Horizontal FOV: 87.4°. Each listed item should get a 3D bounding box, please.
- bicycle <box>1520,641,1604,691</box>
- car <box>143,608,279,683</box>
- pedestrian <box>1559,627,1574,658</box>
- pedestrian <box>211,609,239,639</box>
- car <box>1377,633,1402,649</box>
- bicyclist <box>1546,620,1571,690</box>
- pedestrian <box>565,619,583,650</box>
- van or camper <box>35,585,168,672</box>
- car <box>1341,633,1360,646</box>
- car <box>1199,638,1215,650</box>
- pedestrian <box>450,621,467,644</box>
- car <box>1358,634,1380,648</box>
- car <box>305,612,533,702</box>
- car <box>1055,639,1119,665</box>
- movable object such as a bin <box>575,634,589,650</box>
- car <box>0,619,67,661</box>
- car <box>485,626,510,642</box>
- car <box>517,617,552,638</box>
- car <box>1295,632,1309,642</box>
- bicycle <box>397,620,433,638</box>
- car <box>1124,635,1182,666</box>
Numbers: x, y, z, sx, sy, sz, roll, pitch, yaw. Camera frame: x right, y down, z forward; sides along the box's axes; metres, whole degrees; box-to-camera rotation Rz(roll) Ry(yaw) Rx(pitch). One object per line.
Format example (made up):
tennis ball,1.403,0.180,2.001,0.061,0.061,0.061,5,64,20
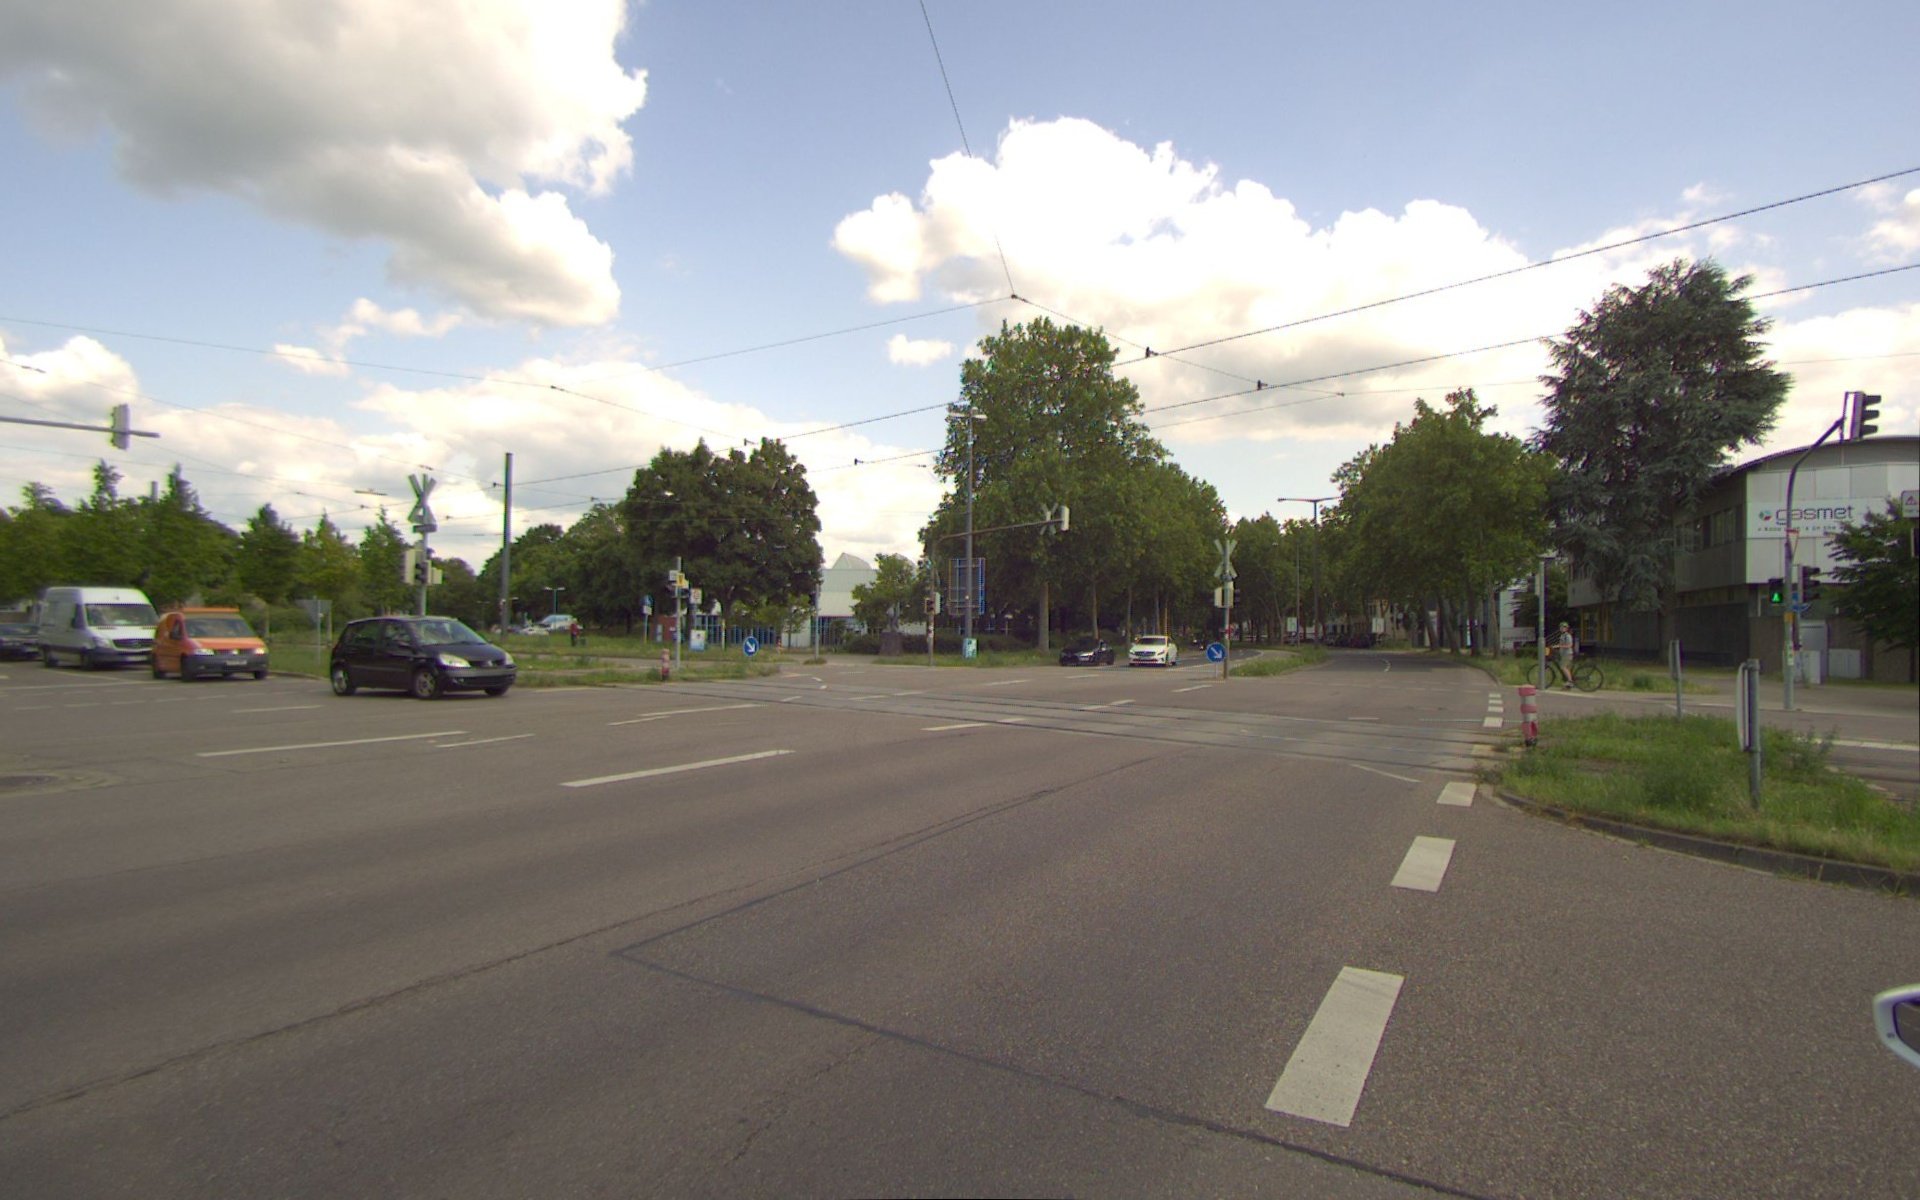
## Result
bicycle,16.255,1.775,27.137,1.920,1.252,0.539,0,0,36
car,-19.766,1.151,26.468,4.304,1.823,1.876,-1,-2,39
pedestrian,31.691,2.240,52.480,0.611,1.590,0.558,0,0,26
pedestrian,-50.260,1.656,68.649,1.155,2.040,1.105,0,-2,26
car,47.698,4.494,111.613,1.960,1.595,4.002,0,0,14
bicyclist,16.191,1.475,27.166,0.536,1.834,0.539,0,1,35
pedestrian,-20.762,1.844,54.014,0.625,1.666,0.613,0,0,18
van or camper,-27.554,0.884,32.164,5.941,2.557,1.975,-1,-2,37
car,51.186,5.156,131.707,1.960,1.595,4.002,0,0,14
car,27.677,4.943,112.738,1.607,1.207,3.711,0,-2,12
pedestrian,-30.171,1.958,60.438,0.739,1.372,0.649,0,0,33
car,50.145,5.046,123.298,1.960,1.595,4.002,0,0,14
car,-10.856,1.100,20.201,3.971,1.652,1.736,0,-2,17
car,6.118,2.471,48.219,1.612,1.207,3.699,0,-2,33
movable object such as a bin,-20.265,2.260,53.861,0.450,0.822,0.579,0,0,17
car,-34.522,1.460,36.574,4.392,1.450,1.808,-1,-2,32
car,-50.766,3.698,110.130,1.978,1.661,4.353,2,-2,-32
car,-35.088,2.257,82.800,1.978,1.661,4.353,2,-2,-32
car,58.344,6.346,171.226,1.960,1.595,4.002,0,0,14
bicycle,-32.414,1.714,59.744,1.947,1.054,0.951,0,-2,27
car,9.169,2.350,47.484,1.796,1.382,4.135,0,-2,24
